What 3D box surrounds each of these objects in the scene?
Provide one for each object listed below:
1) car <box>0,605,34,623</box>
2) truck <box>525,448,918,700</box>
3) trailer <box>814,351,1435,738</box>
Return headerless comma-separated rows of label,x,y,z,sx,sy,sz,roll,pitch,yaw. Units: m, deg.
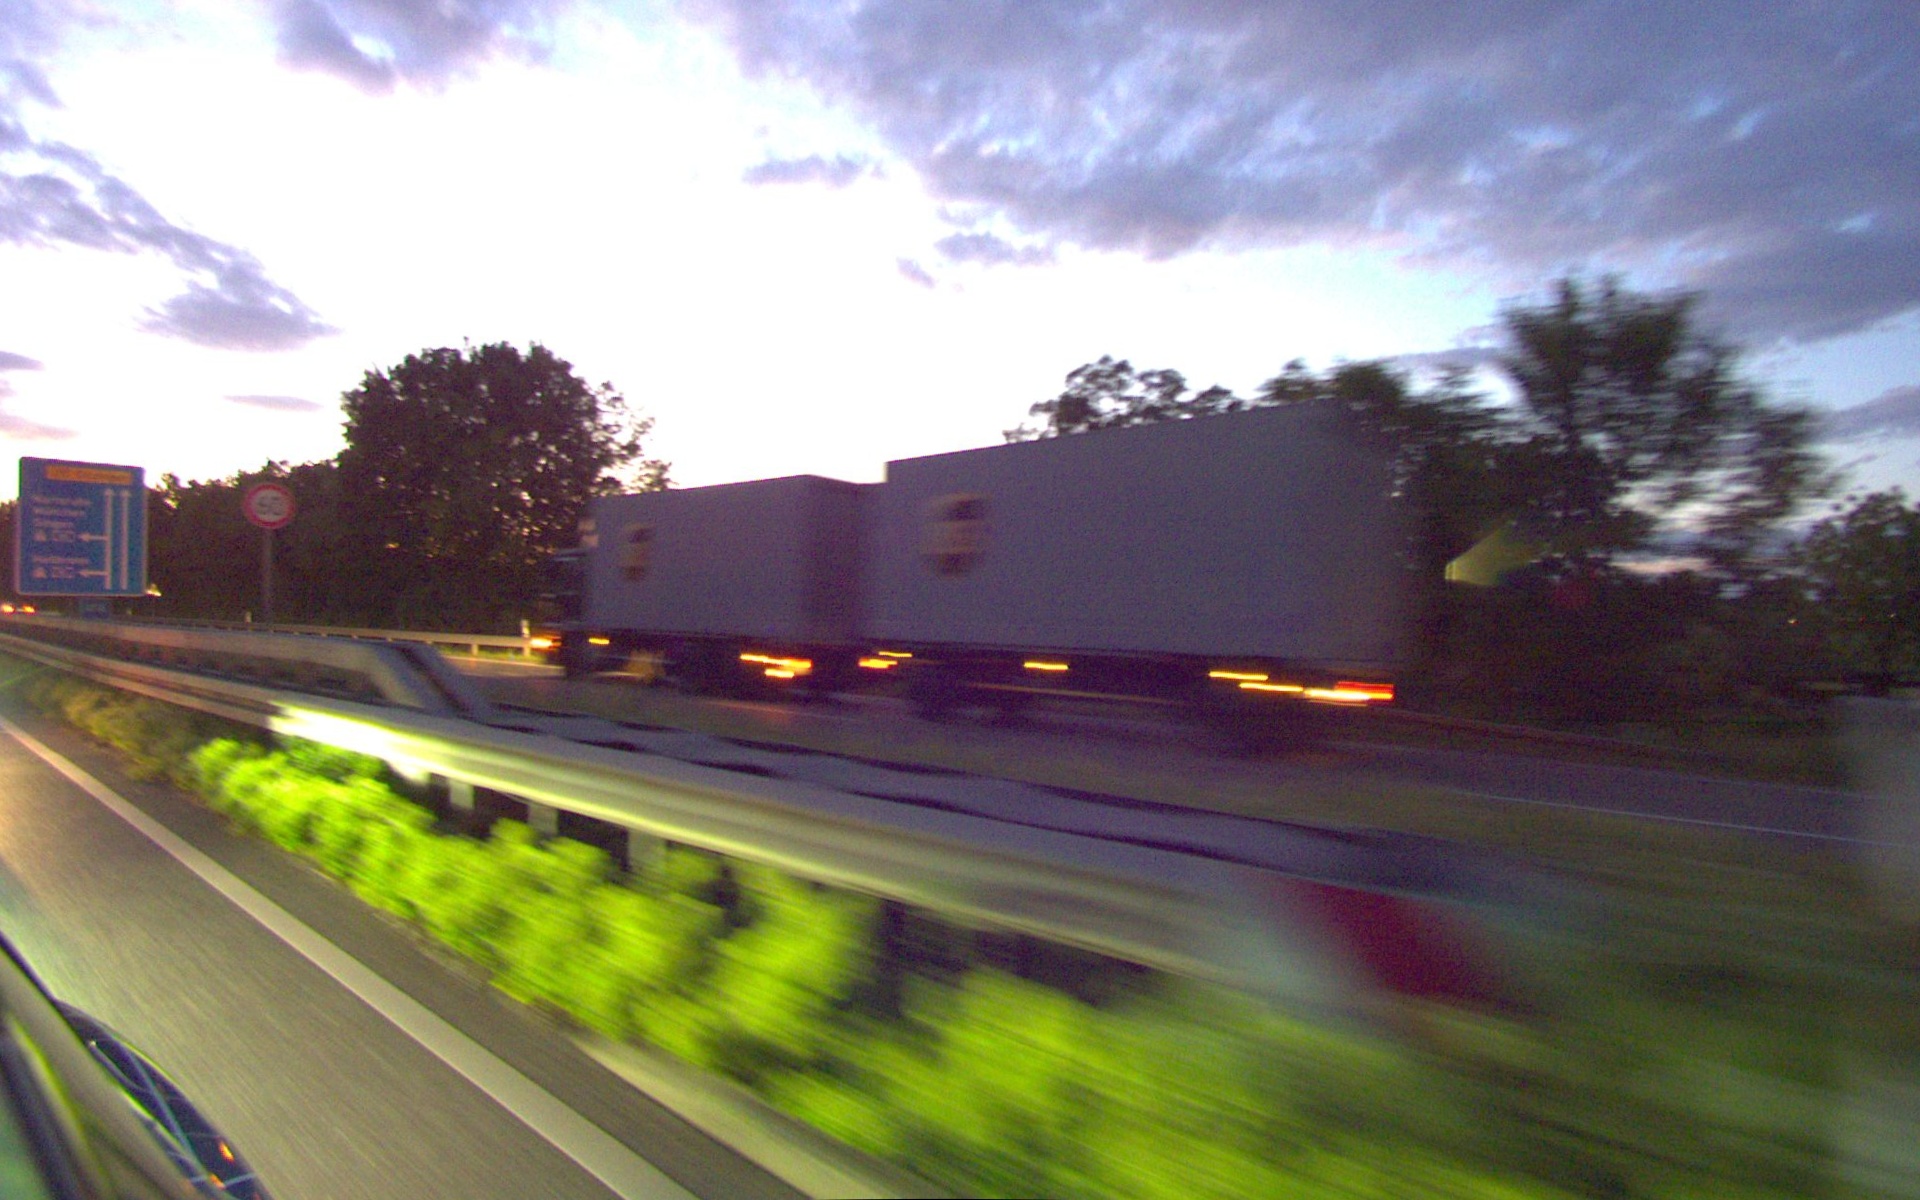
car,-83.374,1.219,89.426,4.587,1.516,1.612,0,-2,40
truck,-5.482,-0.446,21.188,10.346,4.148,2.696,0,0,43
trailer,1.681,-0.523,14.411,8.881,3.973,2.547,0,-2,44
